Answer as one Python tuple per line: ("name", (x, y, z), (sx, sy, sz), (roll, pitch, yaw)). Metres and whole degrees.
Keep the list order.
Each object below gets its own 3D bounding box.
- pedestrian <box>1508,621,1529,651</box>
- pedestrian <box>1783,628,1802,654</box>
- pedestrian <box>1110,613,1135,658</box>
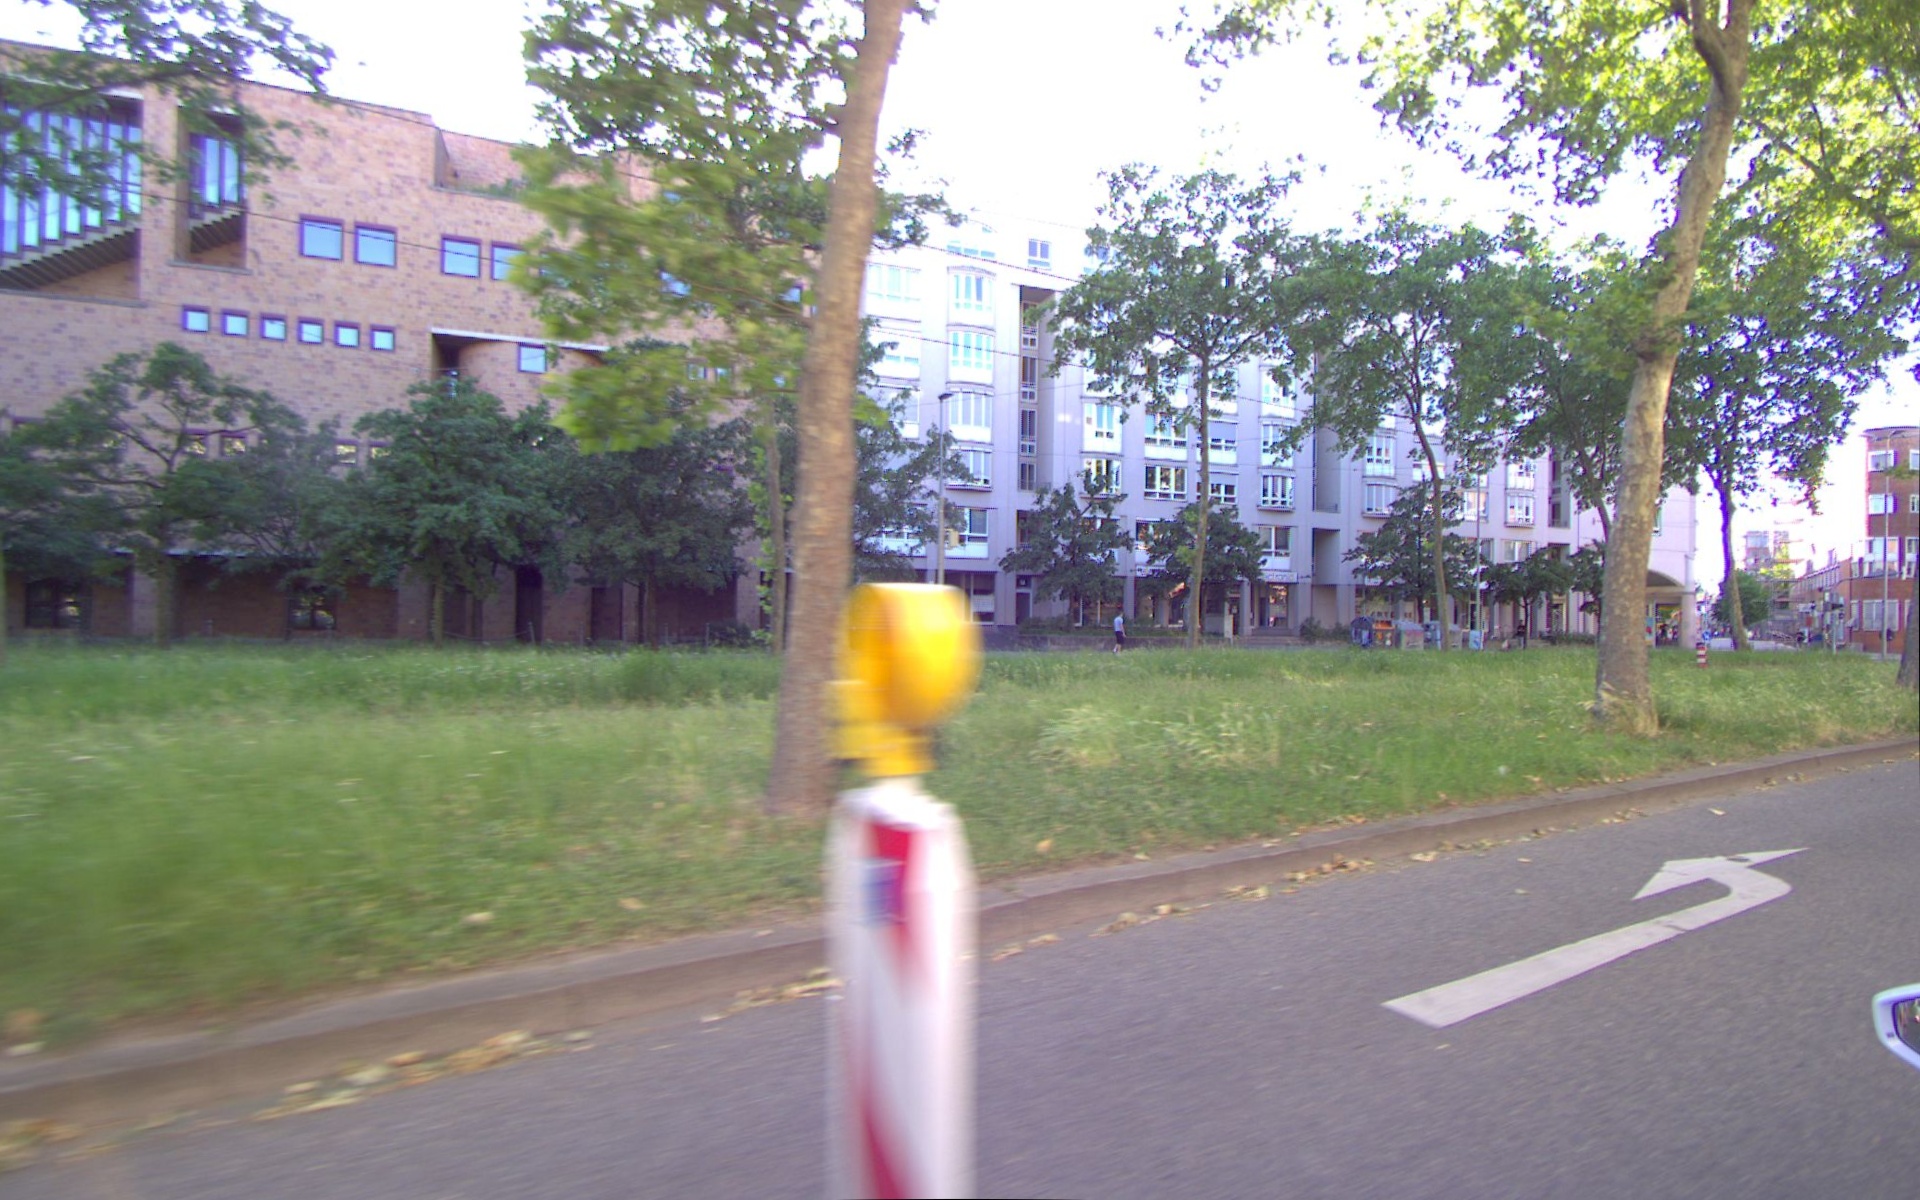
("pedestrian", (31.718, 2.037, 57.083), (0.776, 1.660, 0.706), (1, -1, -21))
("pedestrian", (60.767, 3.008, 73.323), (0.741, 1.894, 0.853), (1, -1, -24))
("pedestrian", (6.500, 1.415, 40.214), (0.640, 1.763, 0.726), (1, -1, -28))
